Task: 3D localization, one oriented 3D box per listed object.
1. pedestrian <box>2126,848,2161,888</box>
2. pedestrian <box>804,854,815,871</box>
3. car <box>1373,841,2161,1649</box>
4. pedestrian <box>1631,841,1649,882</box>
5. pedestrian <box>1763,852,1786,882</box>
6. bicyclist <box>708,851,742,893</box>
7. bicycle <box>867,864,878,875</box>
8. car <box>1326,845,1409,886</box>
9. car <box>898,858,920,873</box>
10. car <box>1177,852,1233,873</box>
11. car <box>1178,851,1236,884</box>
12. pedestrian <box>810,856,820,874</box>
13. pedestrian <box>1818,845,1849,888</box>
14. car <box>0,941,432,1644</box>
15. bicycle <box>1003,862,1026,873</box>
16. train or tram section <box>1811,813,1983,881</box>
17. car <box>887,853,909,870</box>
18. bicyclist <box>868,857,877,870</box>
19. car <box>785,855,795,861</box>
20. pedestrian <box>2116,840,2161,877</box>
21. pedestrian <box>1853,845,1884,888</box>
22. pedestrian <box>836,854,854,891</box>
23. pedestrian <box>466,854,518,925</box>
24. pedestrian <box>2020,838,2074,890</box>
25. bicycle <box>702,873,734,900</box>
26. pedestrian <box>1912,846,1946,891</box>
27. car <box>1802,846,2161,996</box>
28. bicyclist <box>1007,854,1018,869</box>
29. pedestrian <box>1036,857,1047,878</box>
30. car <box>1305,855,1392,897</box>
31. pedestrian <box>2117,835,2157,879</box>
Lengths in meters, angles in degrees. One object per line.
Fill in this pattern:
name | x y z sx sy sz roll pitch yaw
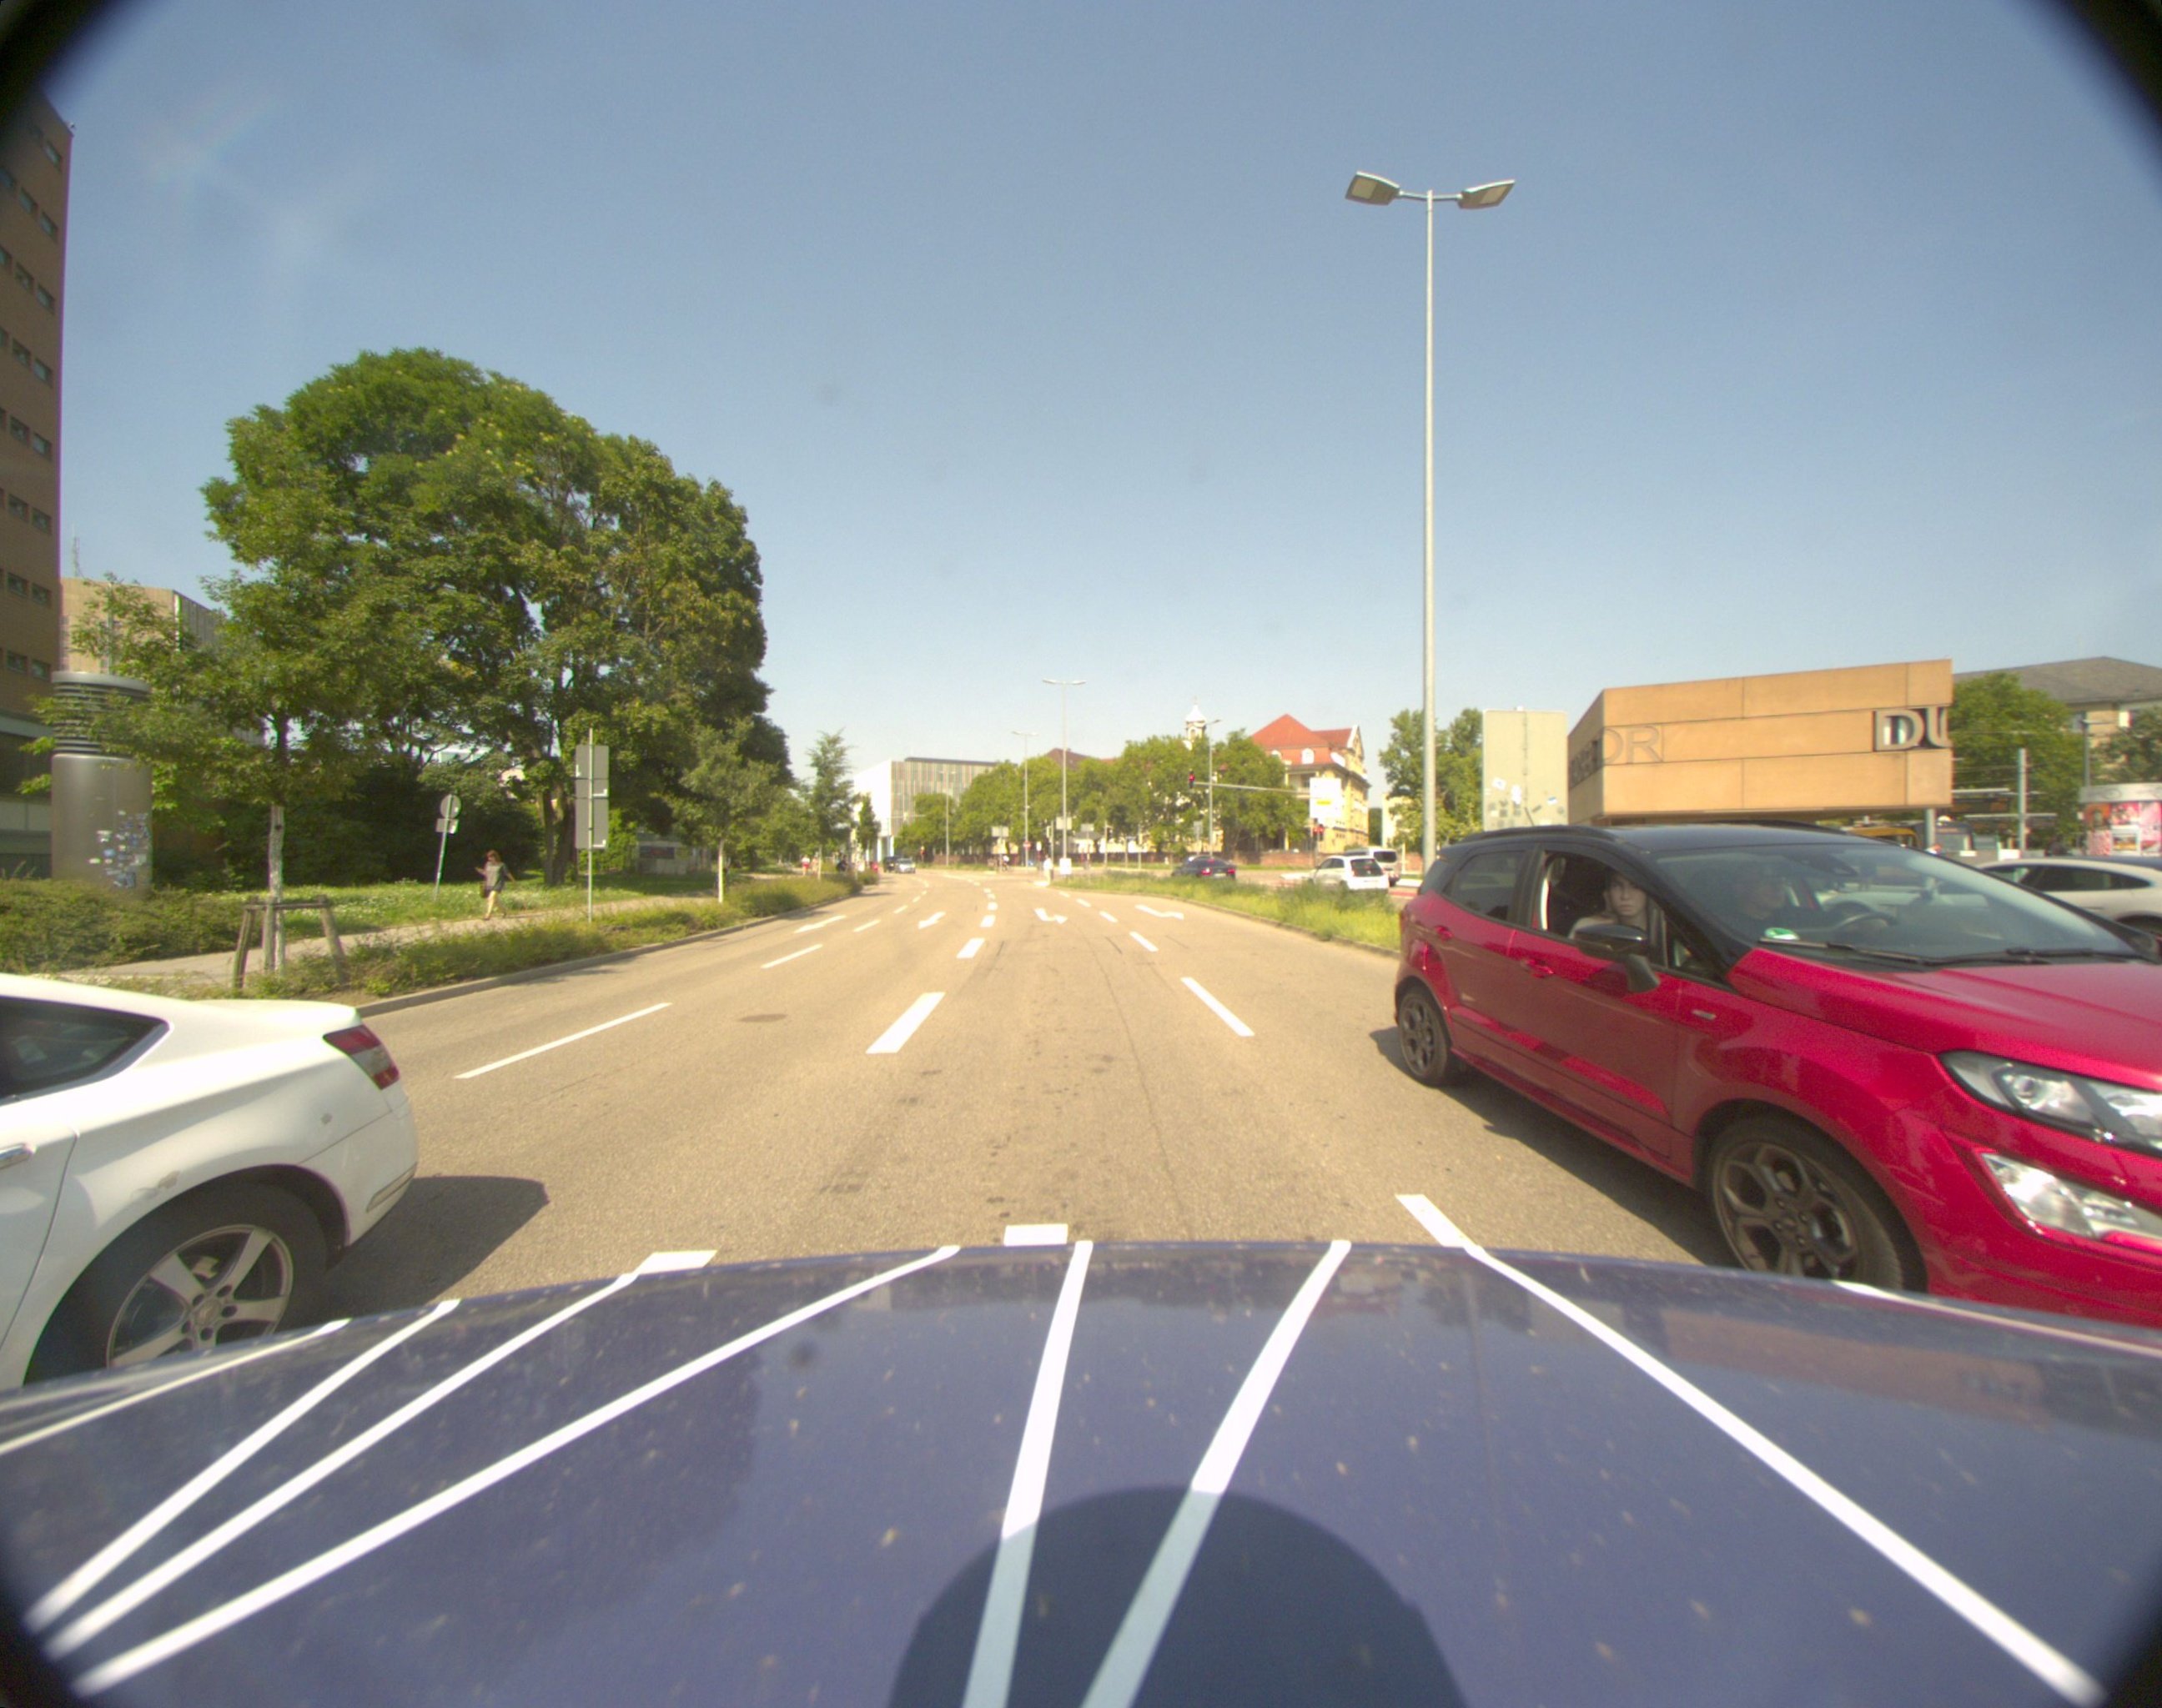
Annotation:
pedestrian | 49.099 0.634 34.924 0.927 1.812 0.939 0 1 28
pedestrian | -20.864 0.636 58.398 0.635 1.291 0.486 -3 1 -27
car | 2.942 0.769 3.391 1.694 1.577 3.844 -2 0 -1
pedestrian | 22.283 0.277 30.293 0.540 1.615 0.689 0 1 35
pedestrian | 26.377 0.489 28.898 0.538 1.093 0.543 0 1 31
bicyclist | -13.887 0.697 29.678 0.904 1.596 0.924 0 0 -2
bicycle | -21.425 1.580 78.123 0.594 1.162 2.234 0 0 -3
car | 13.597 0.505 36.330 1.869 1.843 3.911 0 1 -12
car | -18.647 1.222 82.117 1.661 1.521 4.526 -2 0 -20
car | 9.841 0.664 60.247 4.002 1.608 1.797 0 0 -15
car | 5.598 0.579 34.118 1.526 1.417 3.474 0 0 -9
pedestrian | -20.545 0.848 58.686 0.618 1.291 0.436 -3 1 -26
pedestrian | 26.586 0.444 26.855 0.539 1.488 0.541 0 1 -1
car | -3.307 1.034 0.450 1.773 1.420 4.610 0 0 2
bicycle | -6.638 1.294 75.581 2.267 1.070 0.659 0 0 -7
train or tram section | 47.660 -0.357 45.047 2.698 3.418 13.446 0 0 28
car | -21.409 0.902 88.823 1.893 1.908 4.525 -2 0 -21
bicyclist | -21.433 0.987 78.253 0.679 1.392 1.049 0 0 -4
car | -80.101 1.134 209.127 1.877 1.521 4.522 0 0 -32
pedestrian | 48.893 0.193 35.005 1.076 1.686 1.066 0 1 28
pedestrian | 27.711 0.425 26.745 0.539 1.488 0.541 0 1 -1
pedestrian | -12.172 0.952 39.249 0.823 1.892 0.630 -1 1 -12
pedestrian | -14.334 0.842 18.505 0.672 1.689 0.805 0 0 -9
pedestrian | 27.797 0.281 21.877 0.771 1.488 0.606 0 1 -1
bicycle | -13.887 1.222 29.114 0.357 0.974 1.782 0 0 1
pedestrian | 28.690 0.484 25.714 0.539 1.488 0.541 0 1 -1
car | 12.218 0.697 9.371 1.999 1.575 4.713 0 0 -4
bicyclist | -6.805 0.731 75.558 1.017 1.542 0.718 0 1 -6
pedestrian | -2.468 0.820 47.220 0.605 1.291 0.617 -2 1 -4
car | 10.017 0.790 28.693 1.527 1.470 3.474 0 0 -11
pedestrian | 43.753 0.112 31.499 0.804 1.812 0.534 0 1 28
